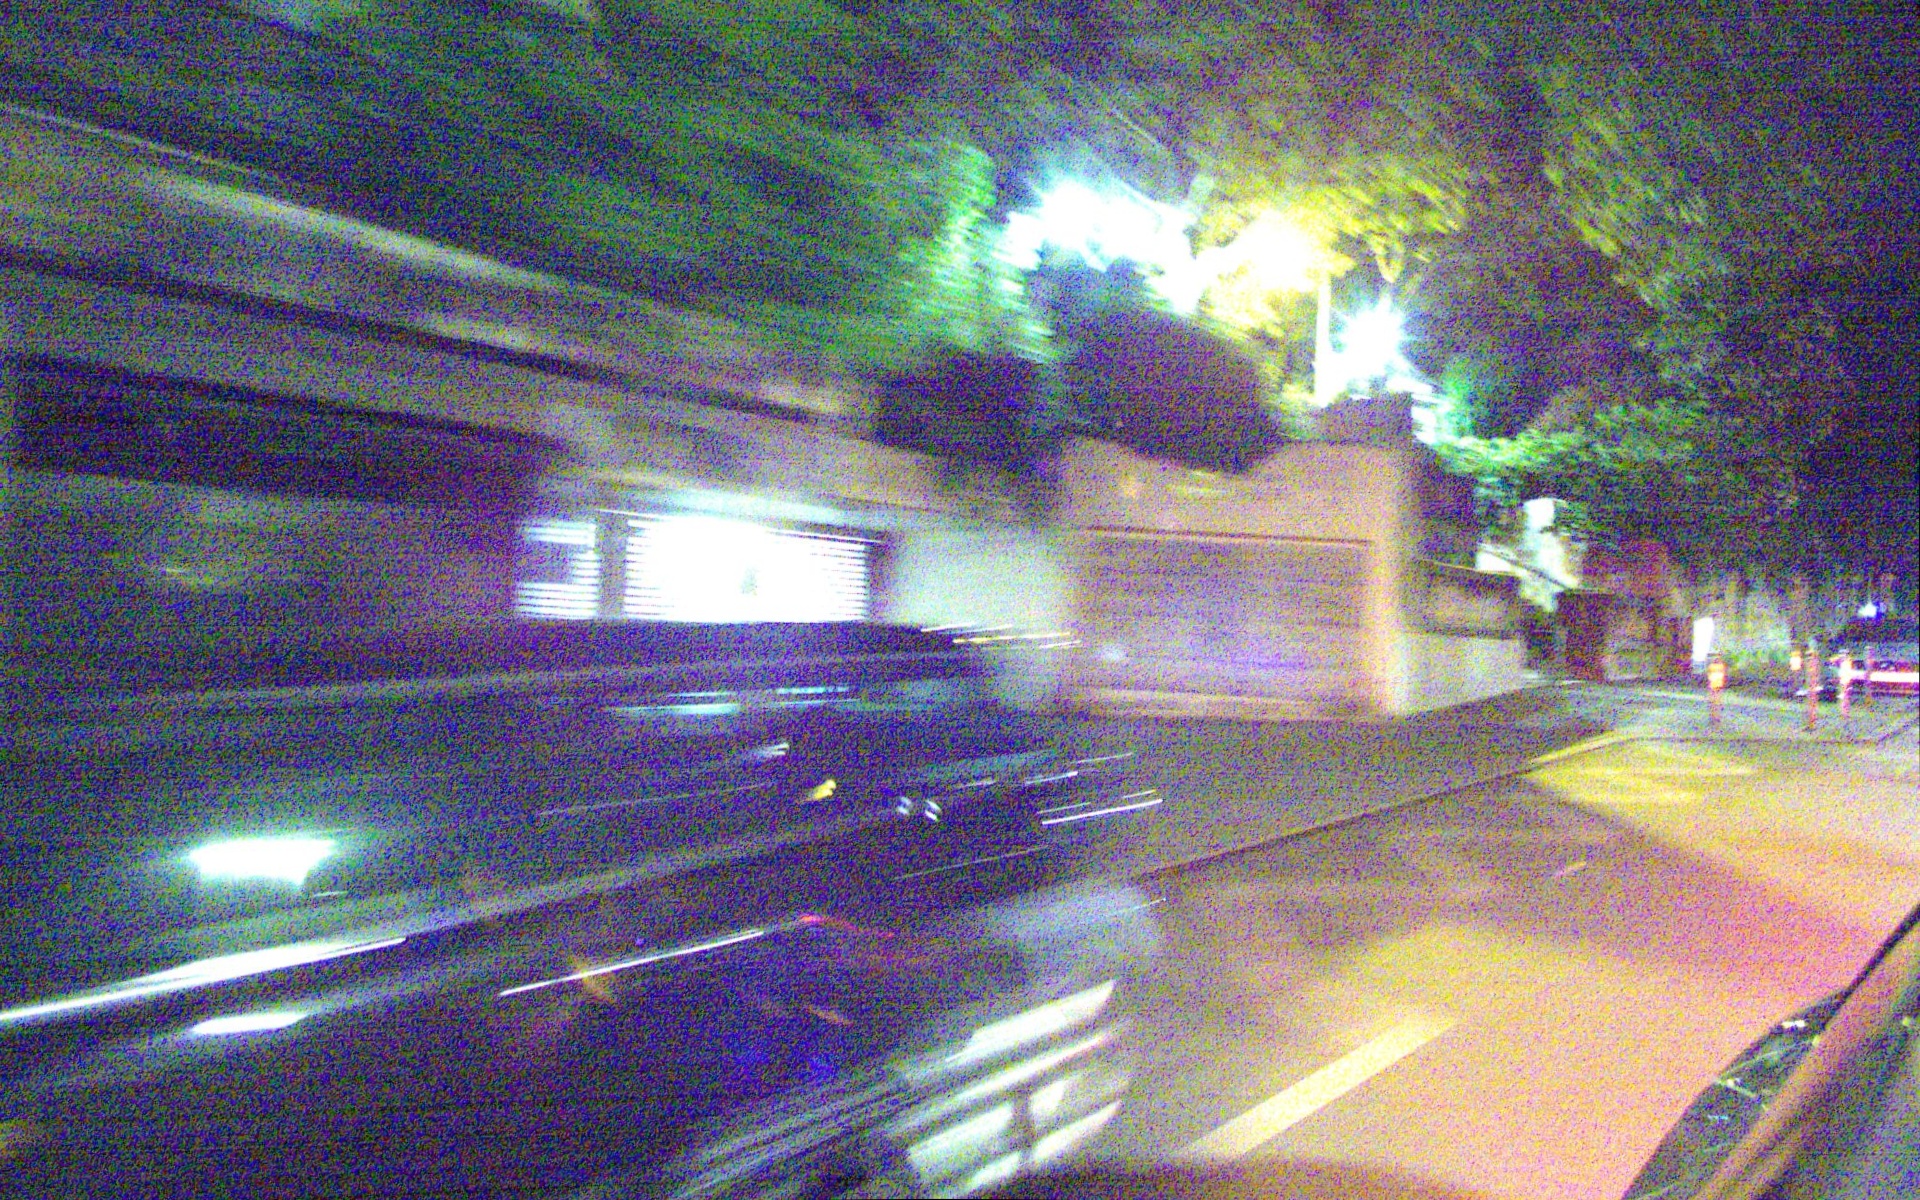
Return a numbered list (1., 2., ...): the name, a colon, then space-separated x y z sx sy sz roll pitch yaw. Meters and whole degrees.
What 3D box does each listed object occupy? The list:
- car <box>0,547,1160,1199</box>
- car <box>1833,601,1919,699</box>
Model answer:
1. car: -1.278 0.685 2.234 3.457 1.492 1.654 1 -1 -42
2. car: 15.757 0.768 16.631 3.650 1.474 1.700 1 -1 -42
